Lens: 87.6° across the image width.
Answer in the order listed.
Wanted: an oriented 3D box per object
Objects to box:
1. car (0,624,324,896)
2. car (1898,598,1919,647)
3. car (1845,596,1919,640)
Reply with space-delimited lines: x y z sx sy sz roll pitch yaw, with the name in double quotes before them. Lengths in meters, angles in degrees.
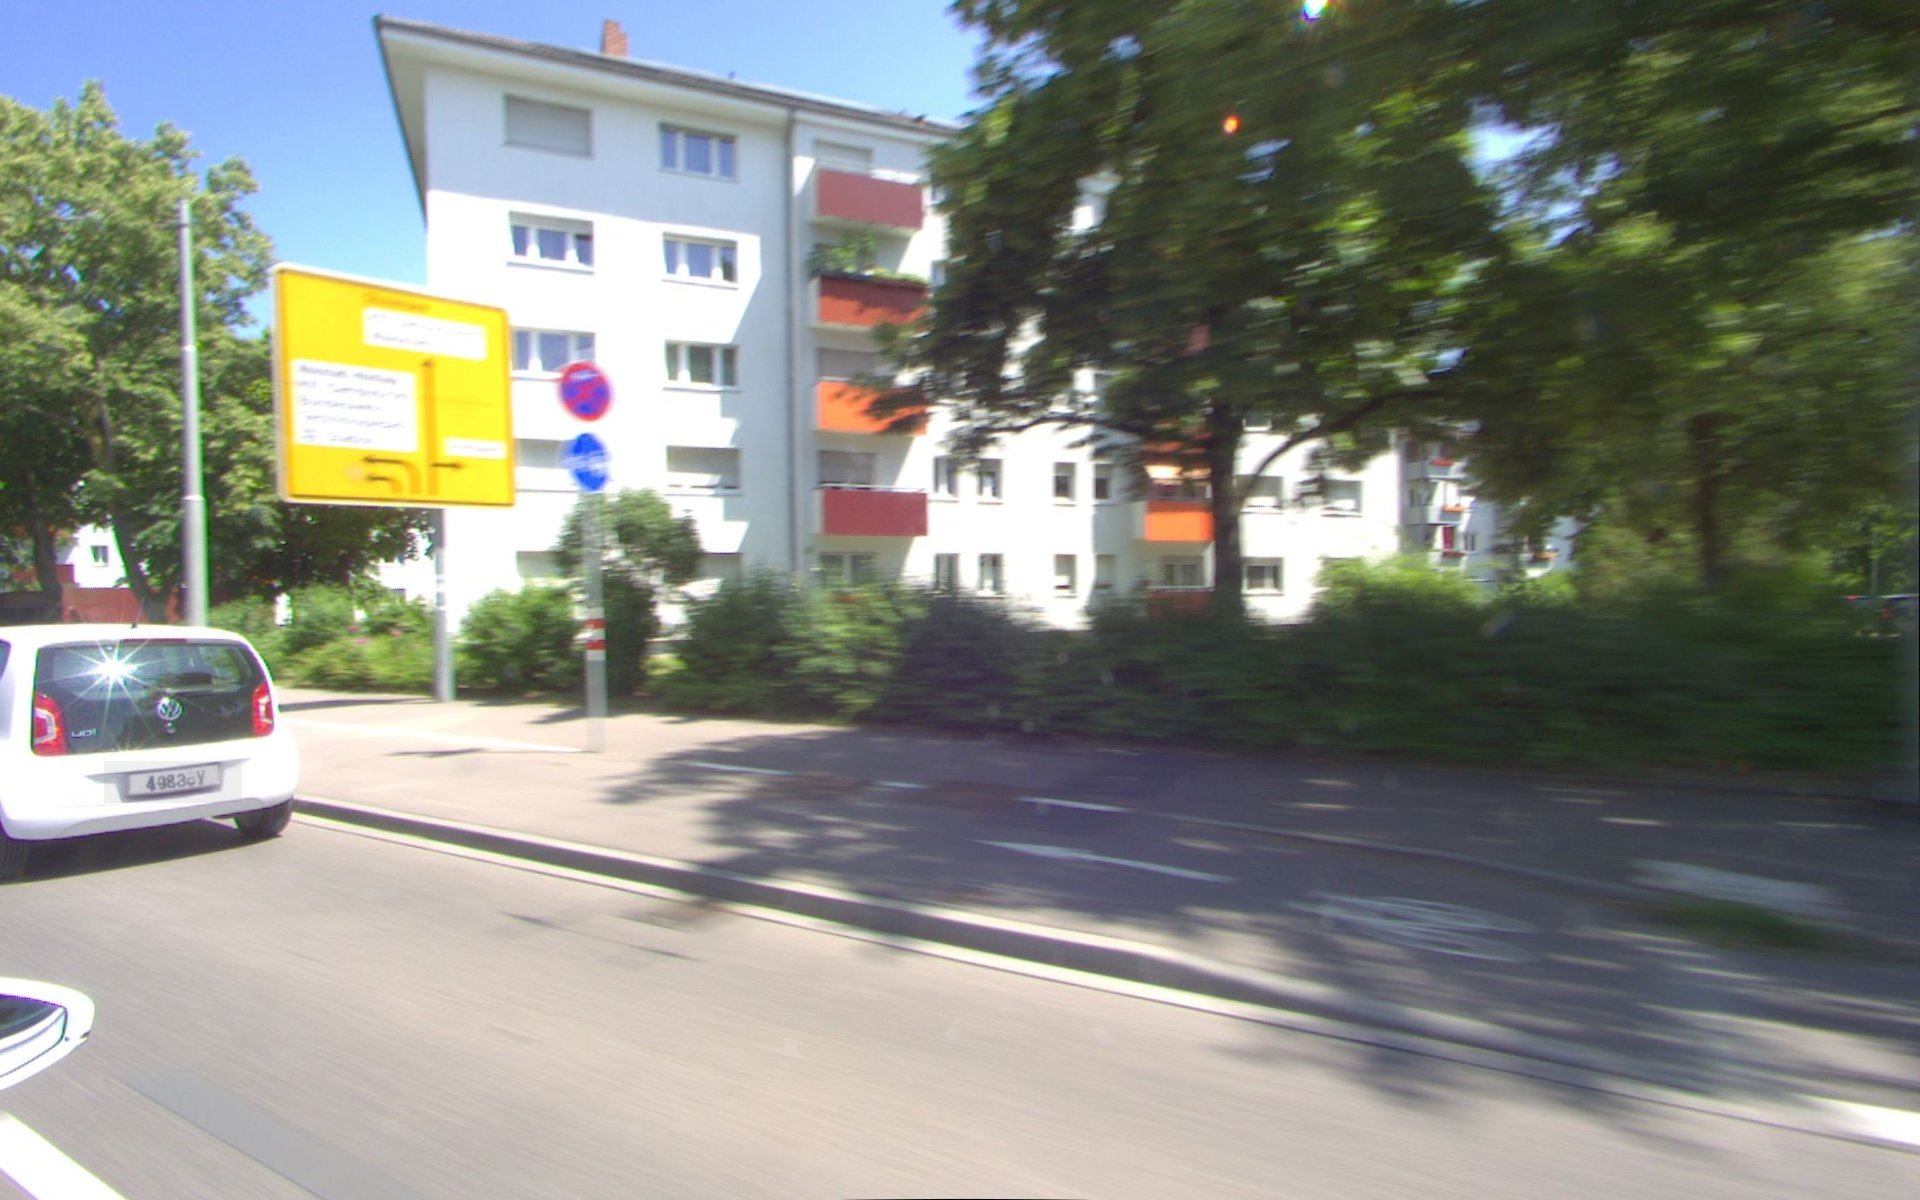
"car" -6.446 0.919 7.199 3.798 1.468 1.656 -1 -1 31
"car" 30.062 0.662 30.524 1.672 1.433 3.705 0 0 36
"car" 33.307 0.606 35.617 1.970 1.457 3.981 -1 0 30
